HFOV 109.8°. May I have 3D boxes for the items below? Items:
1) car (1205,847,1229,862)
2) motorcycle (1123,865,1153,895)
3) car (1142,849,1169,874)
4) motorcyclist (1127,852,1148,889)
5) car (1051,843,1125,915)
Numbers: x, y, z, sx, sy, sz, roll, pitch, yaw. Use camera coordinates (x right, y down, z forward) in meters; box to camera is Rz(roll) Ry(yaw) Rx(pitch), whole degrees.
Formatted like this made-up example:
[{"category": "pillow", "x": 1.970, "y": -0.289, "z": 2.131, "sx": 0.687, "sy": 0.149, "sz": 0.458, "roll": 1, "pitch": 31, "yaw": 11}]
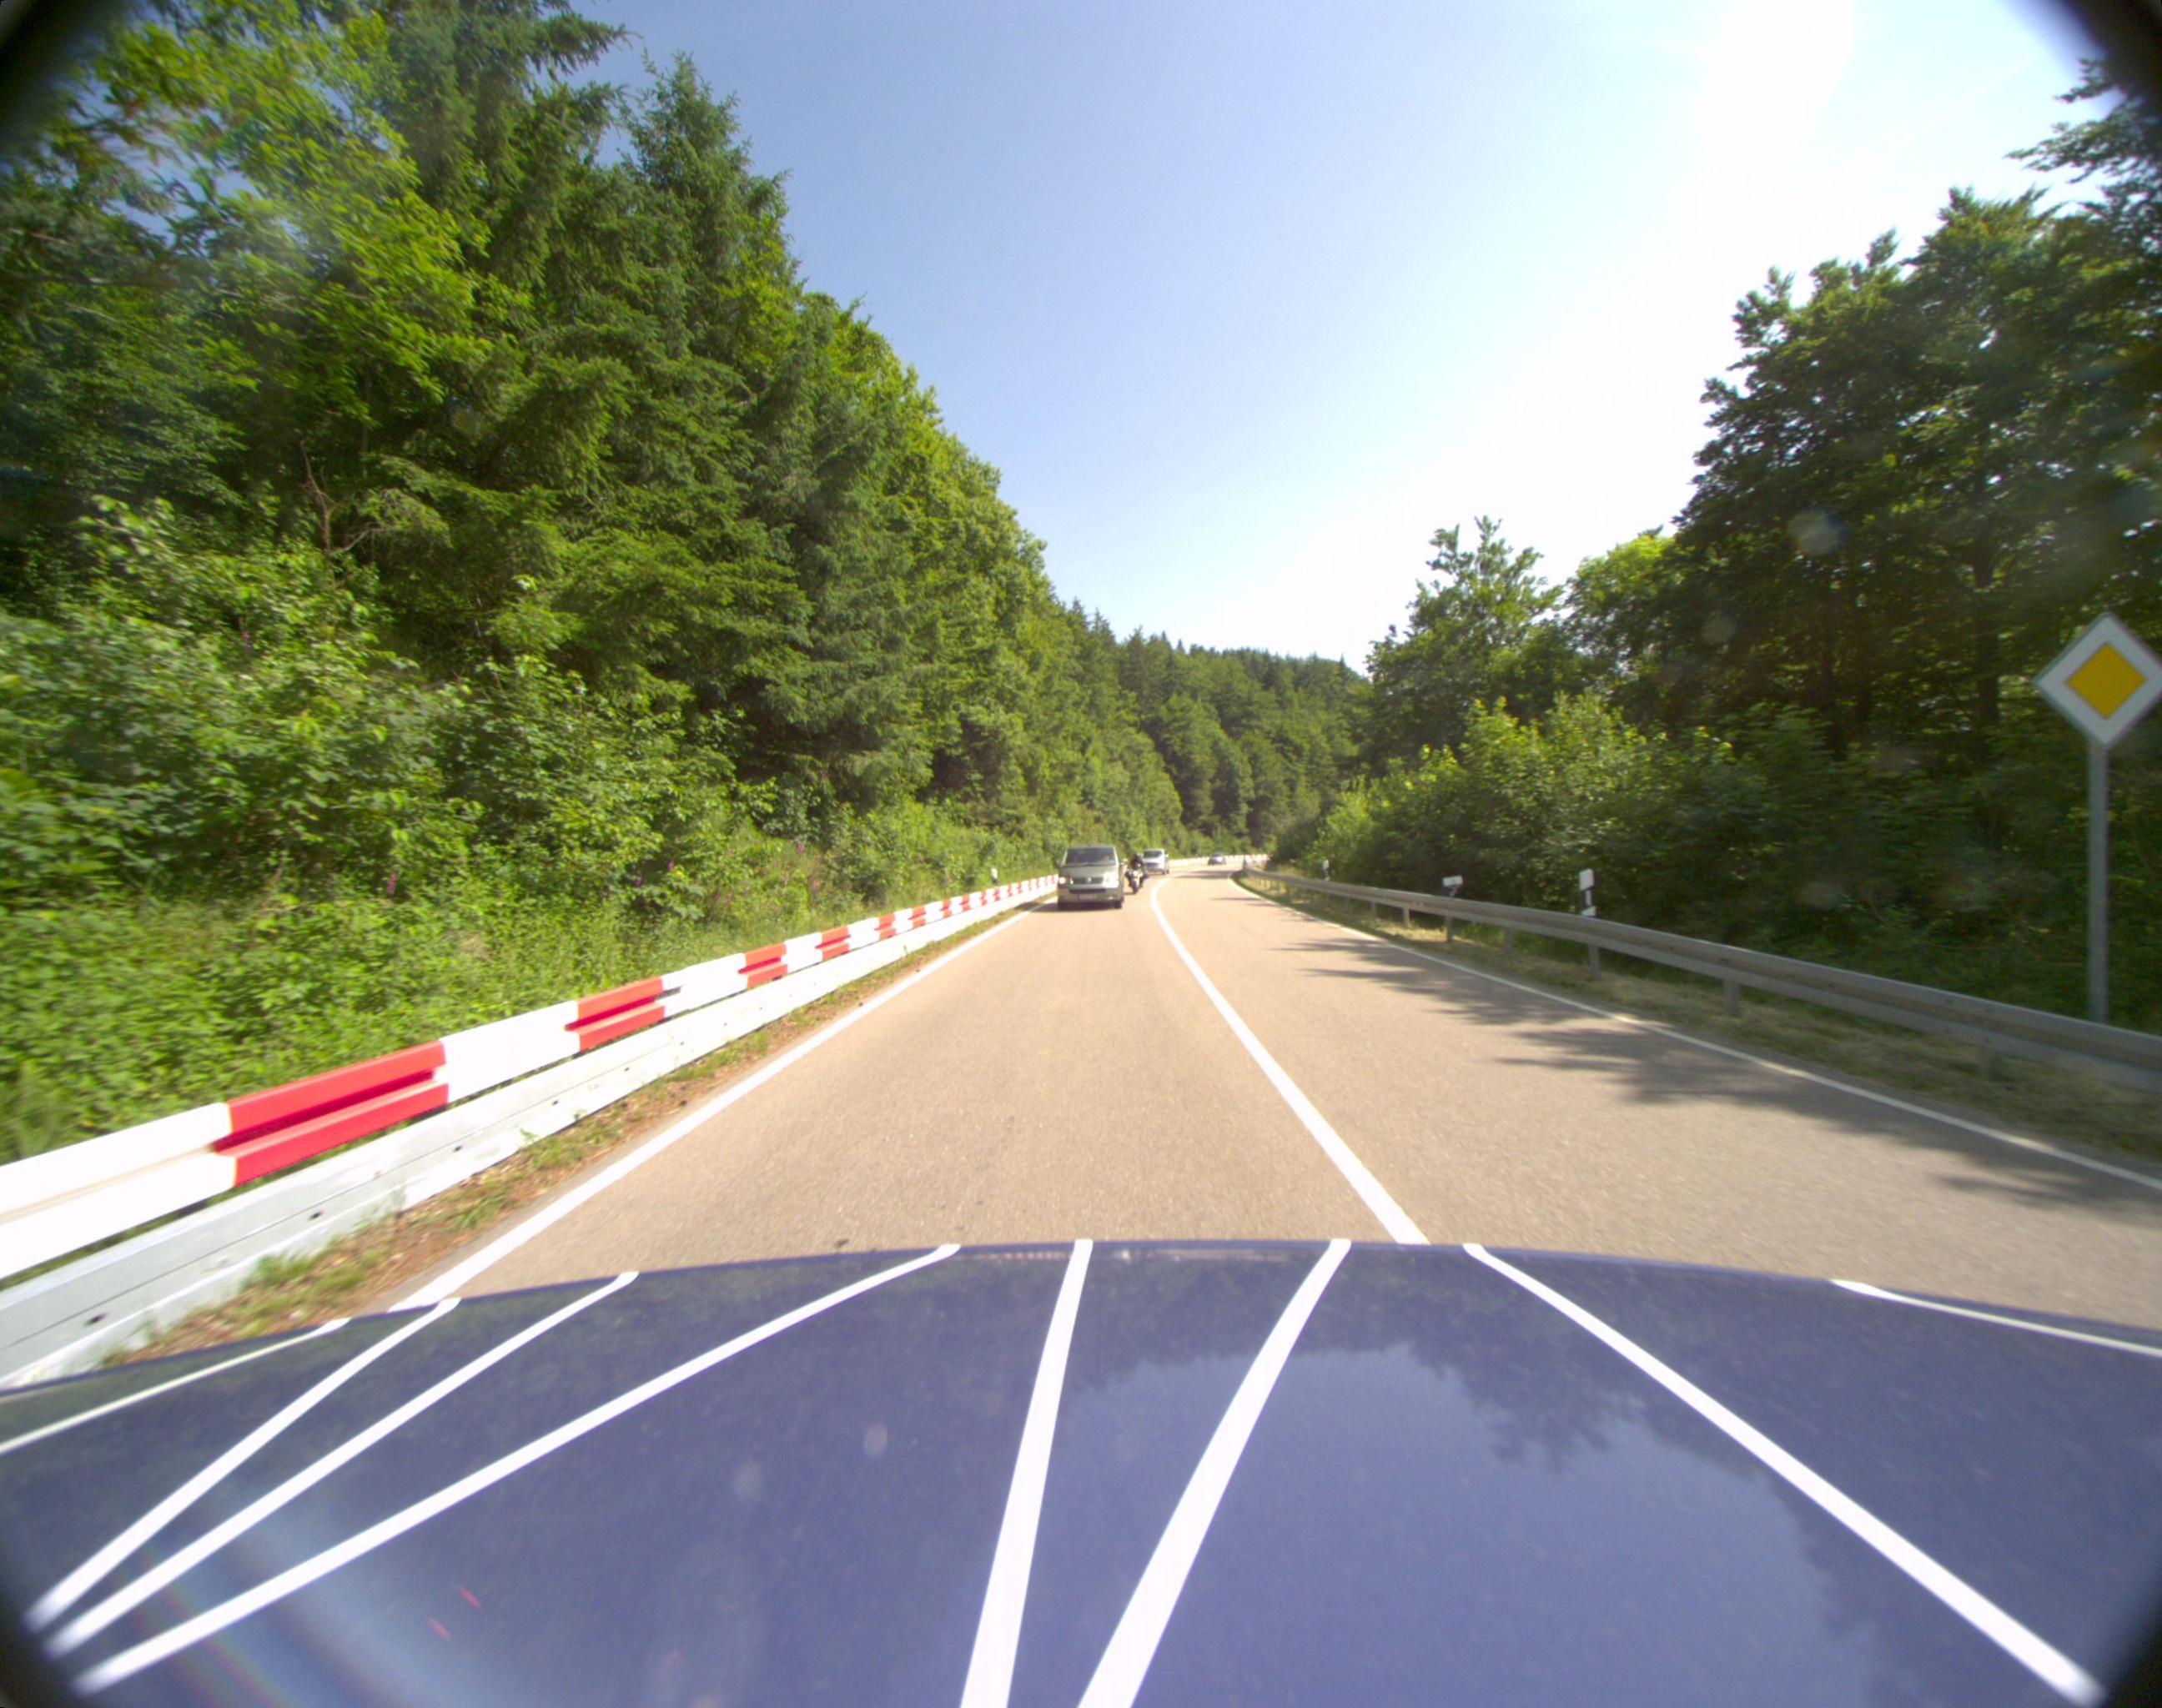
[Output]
[{"category": "car", "x": 16.052, "y": 0.051, "z": 89.341, "sx": 1.996, "sy": 1.633, "sz": 4.005, "roll": -3, "pitch": 0, "yaw": 20}, {"category": "motorcycle", "x": 2.290, "y": 1.037, "z": 30.609, "sx": 1.109, "sy": 1.116, "sz": 1.961, "roll": -1, "pitch": 0, "yaw": 2}, {"category": "car", "x": 5.464, "y": 0.539, "z": 55.670, "sx": 1.651, "sy": 1.749, "sz": 3.797, "roll": -1, "pitch": 0, "yaw": 10}, {"category": "motorcyclist", "x": 2.257, "y": 0.641, "z": 30.571, "sx": 0.717, "sy": 1.421, "sz": 0.999, "roll": -4, "pitch": 0, "yaw": 3}, {"category": "car", "x": 0.324, "y": 0.701, "z": 23.780, "sx": 2.029, "sy": 1.940, "sz": 4.900, "roll": -2, "pitch": 0, "yaw": 3}]
